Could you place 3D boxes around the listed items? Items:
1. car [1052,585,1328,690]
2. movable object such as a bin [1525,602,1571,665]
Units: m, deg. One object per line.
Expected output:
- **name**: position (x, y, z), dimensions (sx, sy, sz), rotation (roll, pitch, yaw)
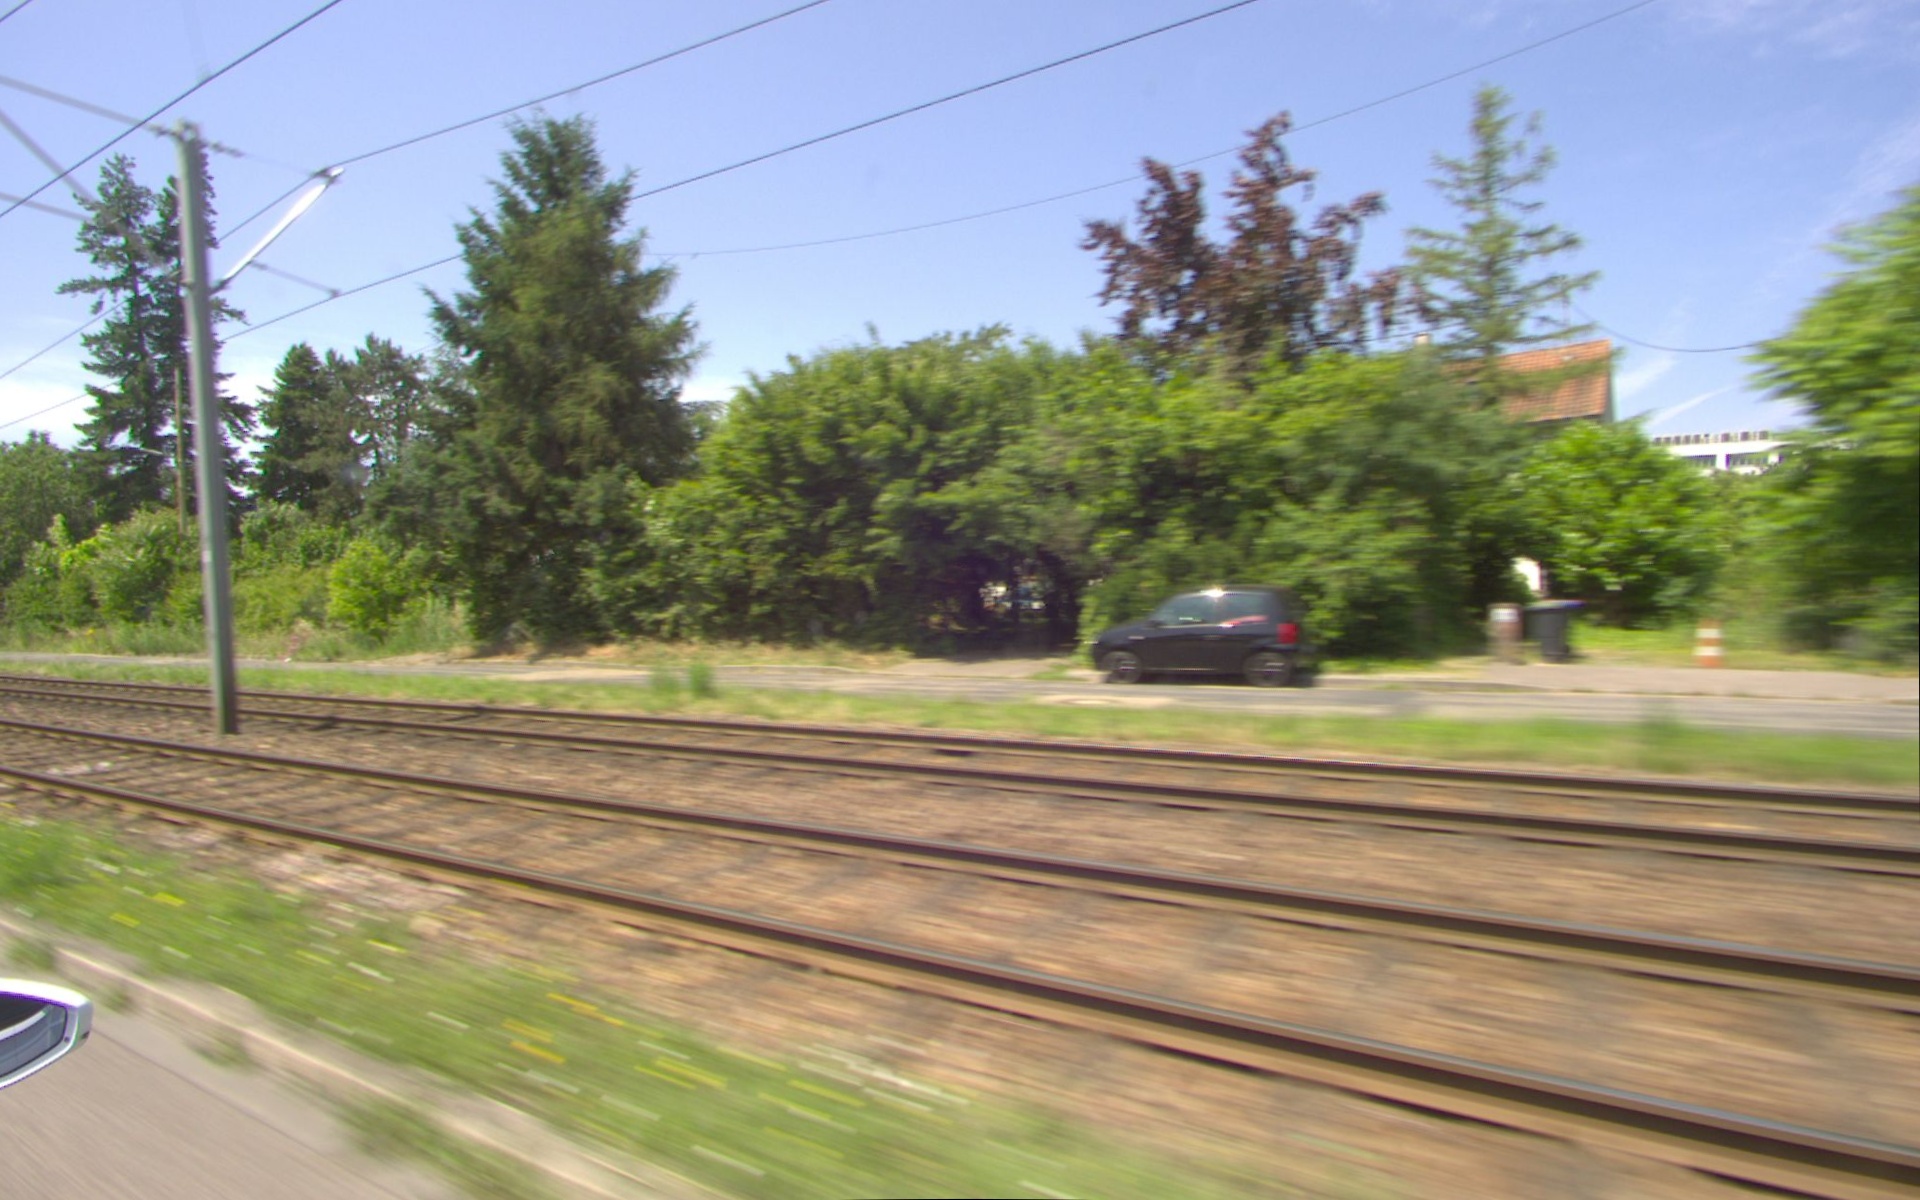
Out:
- **car**: position (3.677, 0.561, 16.164), dimensions (3.943, 1.490, 1.910), rotation (-1, 0, 32)
- **movable object such as a bin**: position (9.229, 0.510, 15.714), dimensions (0.612, 0.950, 0.722), rotation (0, 1, 32)
